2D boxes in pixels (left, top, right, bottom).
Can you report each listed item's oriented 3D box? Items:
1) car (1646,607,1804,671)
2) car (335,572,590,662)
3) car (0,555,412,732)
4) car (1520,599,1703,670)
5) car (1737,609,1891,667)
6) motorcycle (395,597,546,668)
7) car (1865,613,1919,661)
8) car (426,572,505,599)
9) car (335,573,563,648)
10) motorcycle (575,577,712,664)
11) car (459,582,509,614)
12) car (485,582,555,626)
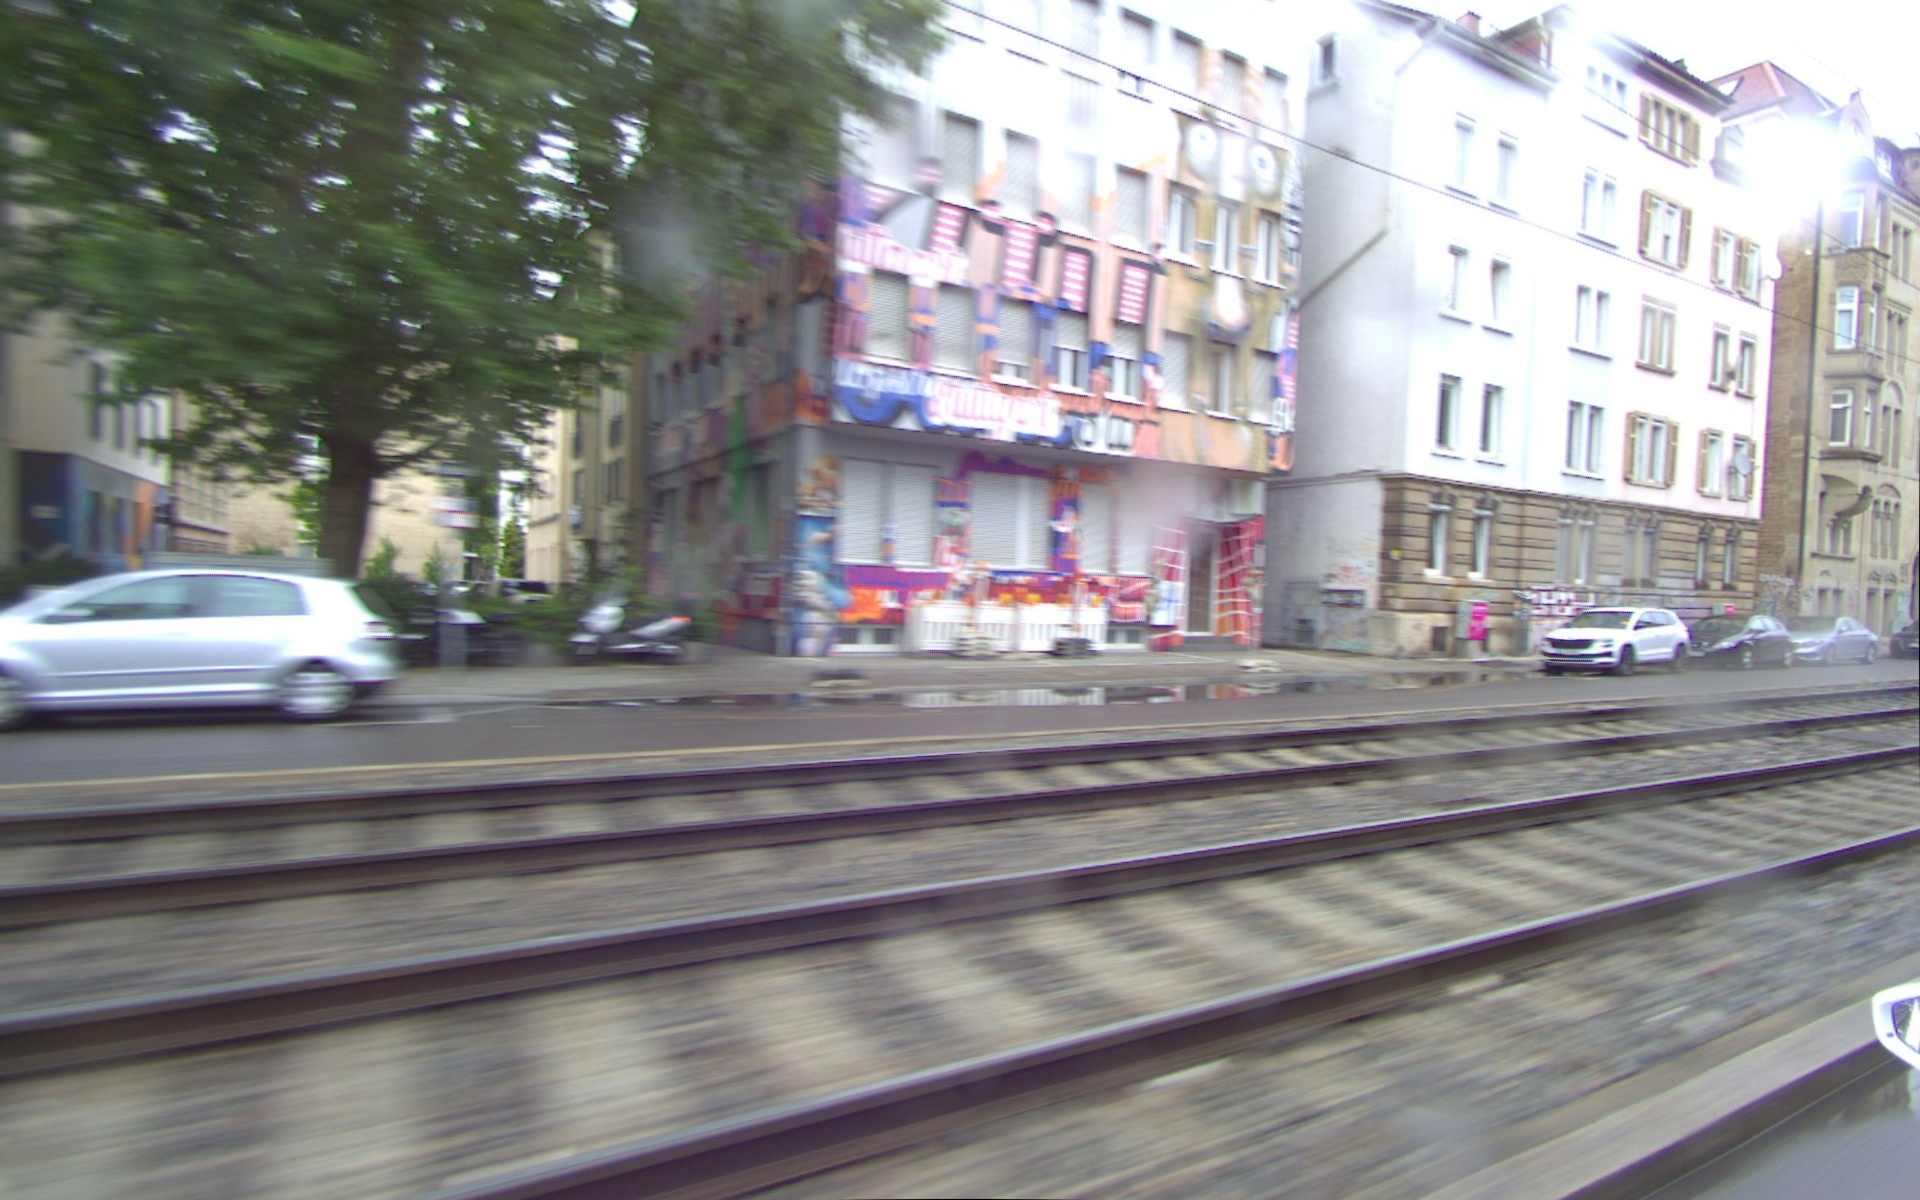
[{"bbox_3d":[20.925,1.062,27.458,4.160,1.539,1.984,2,1,-31],"label":"car"},{"bbox_3d":[-8.991,0.303,18.276,3.954,1.474,1.983,1,0,-31],"label":"car"},{"bbox_3d":[-8.089,0.403,10.408,4.171,1.591,1.713,2,1,-31],"label":"car"},{"bbox_3d":[15.986,0.836,24.603,4.384,1.539,1.984,2,1,-31],"label":"car"},{"bbox_3d":[25.688,1.135,30.182,4.934,1.539,1.983,2,1,-31],"label":"car"},{"bbox_3d":[-7.741,0.512,15.929,2.096,1.047,0.635,2,1,-32],"label":"motorcycle"},{"bbox_3d":[33.871,1.302,35.128,4.621,1.539,1.983,2,1,-31],"label":"car"},{"bbox_3d":[-27.012,-0.789,54.919,3.564,1.383,1.773,1,0,15],"label":"car"},{"bbox_3d":[-10.371,0.214,20.487,3.954,1.383,1.983,1,0,-31],"label":"car"},{"bbox_3d":[-5.370,0.351,17.108,2.096,1.398,0.635,2,1,-32],"label":"motorcycle"},{"bbox_3d":[-22.115,-0.100,46.581,1.773,1.383,3.968,1,0,-30],"label":"car"},{"bbox_3d":[-15.119,0.108,34.387,1.773,1.383,3.968,1,0,-30],"label":"car"}]
